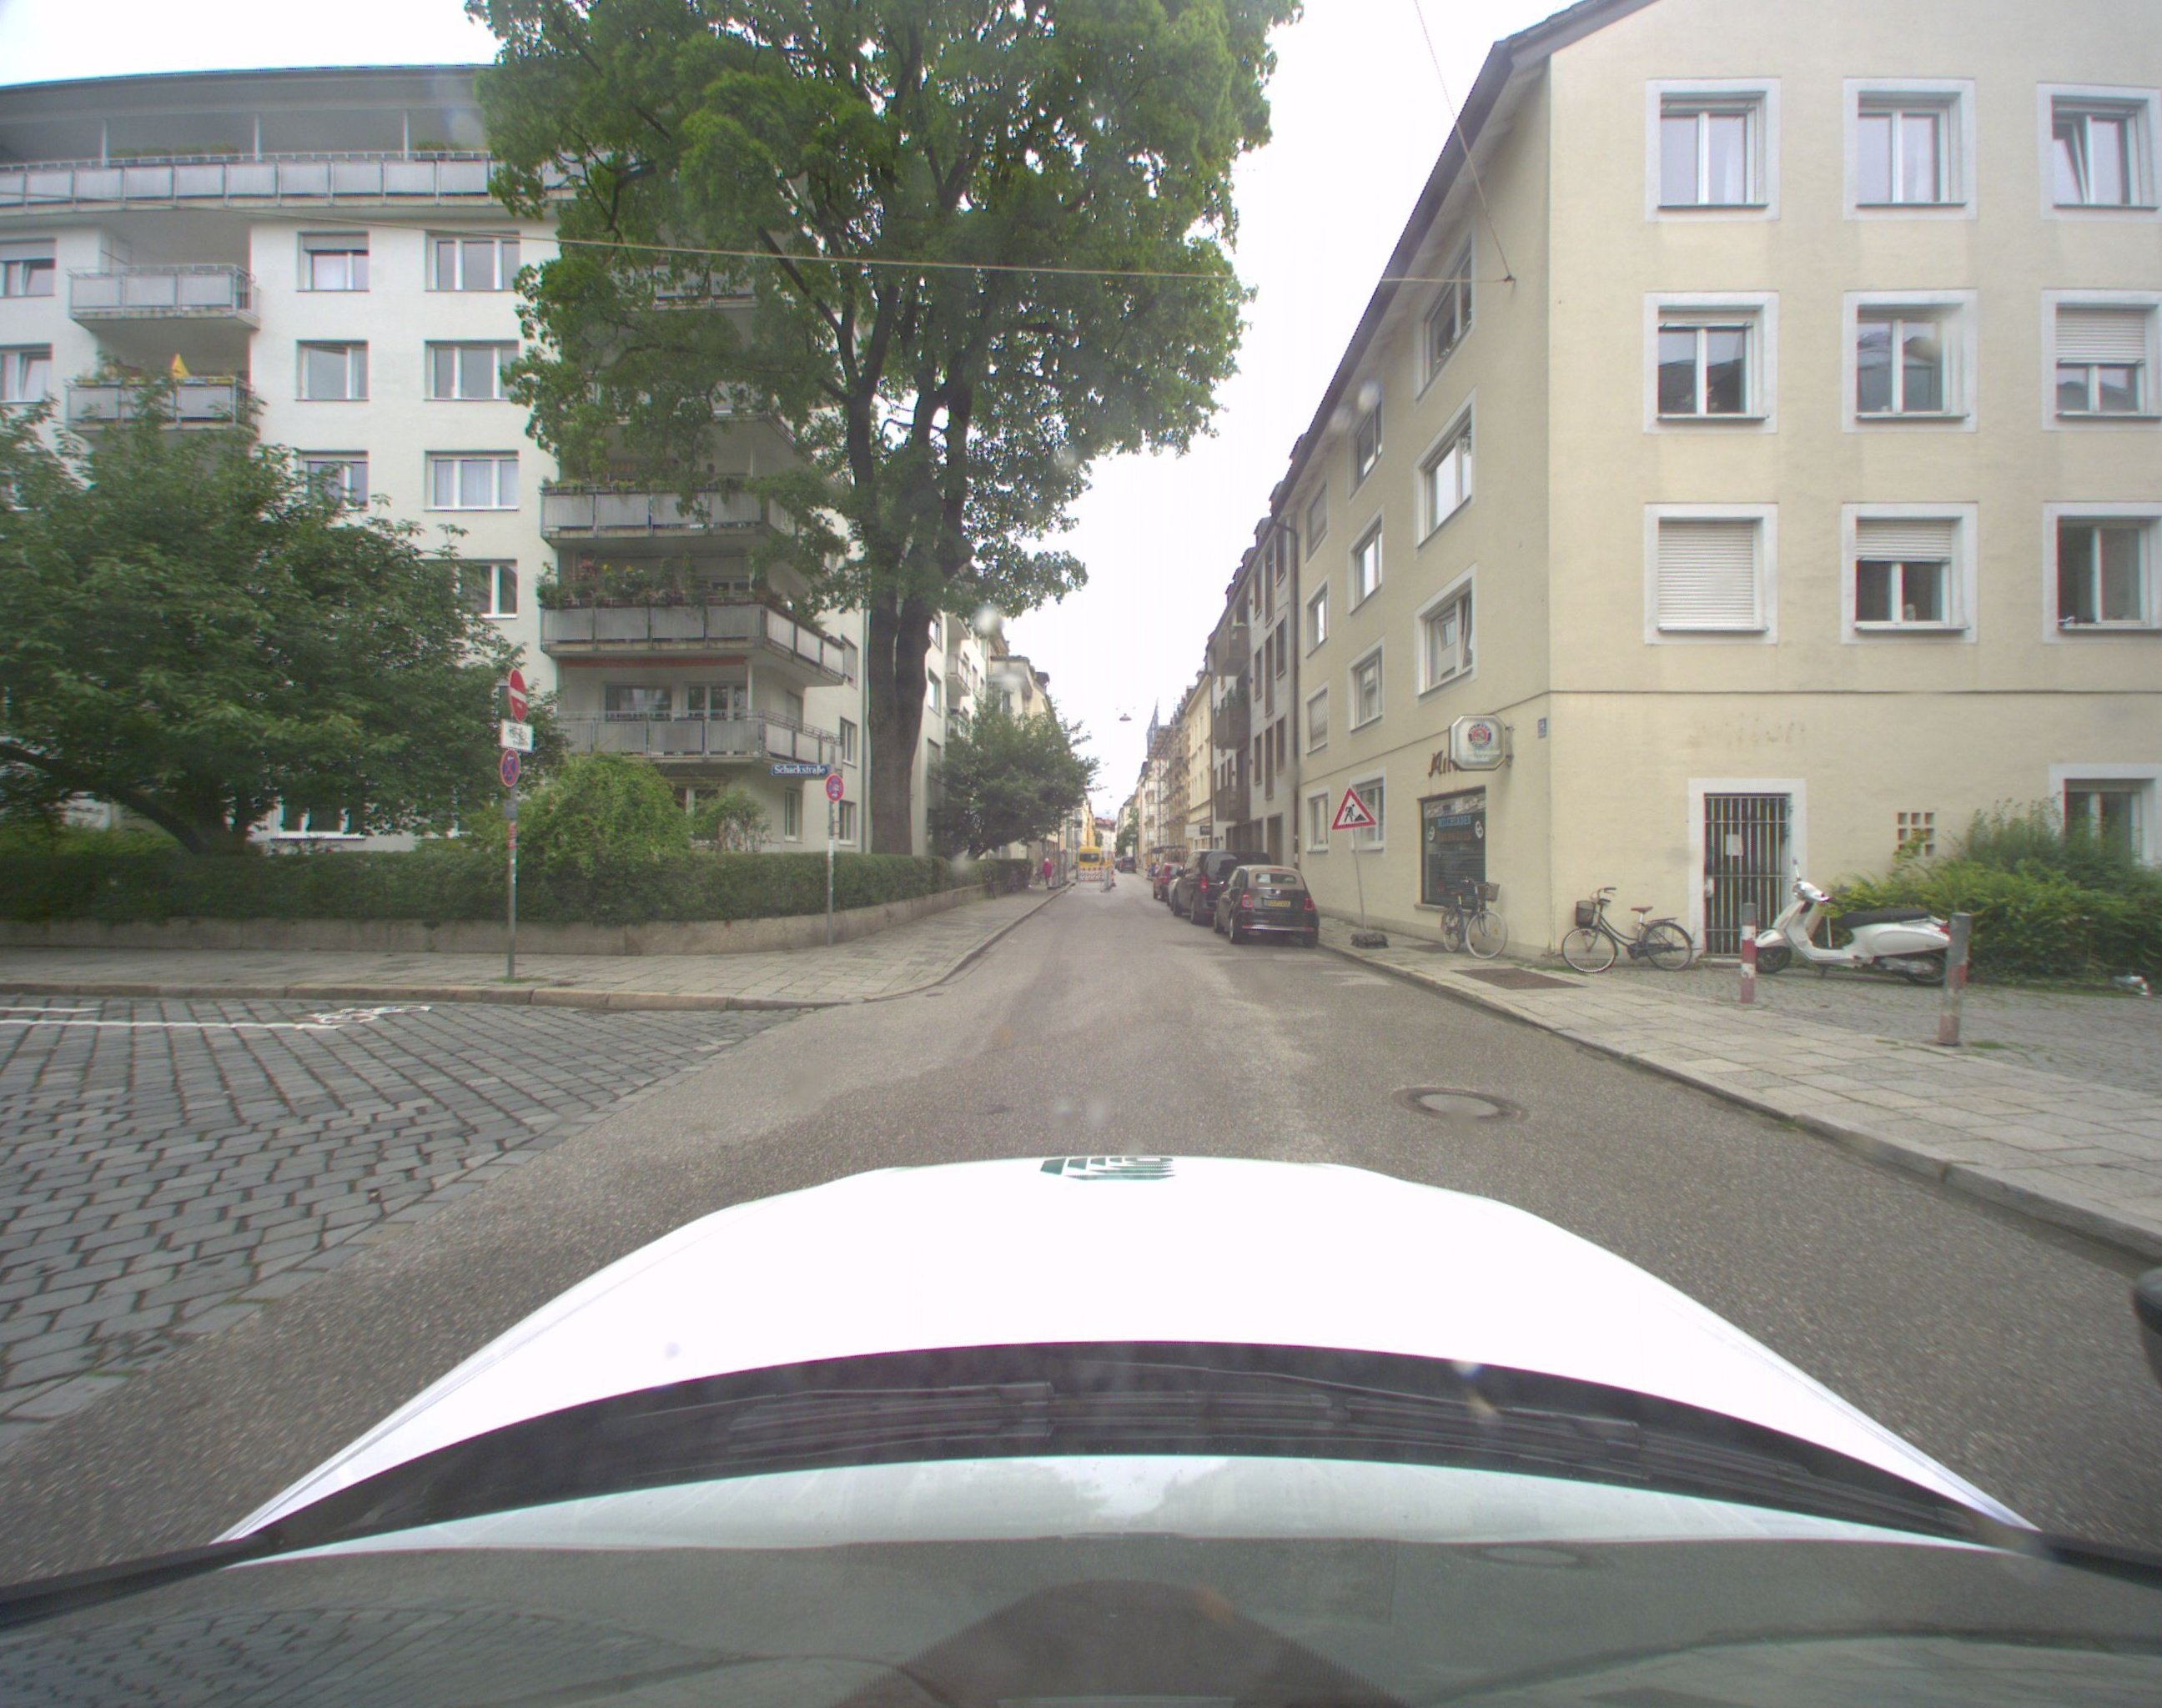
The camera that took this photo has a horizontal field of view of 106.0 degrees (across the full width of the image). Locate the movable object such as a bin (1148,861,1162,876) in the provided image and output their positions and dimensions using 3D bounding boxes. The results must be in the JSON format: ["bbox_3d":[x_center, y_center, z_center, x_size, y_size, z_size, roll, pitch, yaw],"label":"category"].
[{"bbox_3d":[6.963,1.361,76.725,1.078,1.346,1.322,-3,-1,14],"label":"movable object such as a bin"}]

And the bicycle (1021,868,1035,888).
[{"bbox_3d":[-2.641,1.195,40.831,0.442,0.978,1.817,3,-1,3],"label":"bicycle"}]

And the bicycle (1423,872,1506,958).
[{"bbox_3d":[5.856,0.897,12.530,0.408,1.214,1.819,-2,-2,2],"label":"bicycle"}]

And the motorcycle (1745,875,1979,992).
[{"bbox_3d":[8.819,0.841,9.283,0.624,1.121,1.853,-1,1,-37],"label":"motorcycle"}]

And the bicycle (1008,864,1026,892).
[{"bbox_3d":[-2.735,1.024,34.940,0.486,1.151,1.700,3,-1,3],"label":"bicycle"}]

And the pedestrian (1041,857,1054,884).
[{"bbox_3d":[-1.954,0.972,47.417,0.635,1.532,0.748,1,-1,3],"label":"pedestrian"}]

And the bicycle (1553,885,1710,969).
[{"bbox_3d":[7.030,0.926,10.436,1.695,1.027,0.411,-1,-2,1],"label":"bicycle"}]

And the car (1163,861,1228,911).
[{"bbox_3d":[3.754,1.010,27.388,1.761,1.461,4.383,2,0,3],"label":"car"}]

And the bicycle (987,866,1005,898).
[{"bbox_3d":[-3.077,1.001,29.485,0.345,1.072,1.781,4,0,2],"label":"bicycle"}]

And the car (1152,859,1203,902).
[{"bbox_3d":[3.803,1.012,32.624,1.764,1.524,4.070,2,0,3],"label":"car"}]

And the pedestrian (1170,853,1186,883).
[{"bbox_3d":[5.916,0.843,49.768,0.727,1.752,0.988,-4,-1,1],"label":"pedestrian"}]

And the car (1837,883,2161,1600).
[{"bbox_3d":[3.068,0.807,0.208,1.715,1.435,4.358,1,0,0],"label":"car"}]

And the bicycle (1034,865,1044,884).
[{"bbox_3d":[-2.498,1.226,48.773,0.375,1.063,1.598,6,0,2],"label":"bicycle"}]

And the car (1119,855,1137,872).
[{"bbox_3d":[5.679,1.171,99.096,1.987,1.932,4.660,1,0,1],"label":"car"}]

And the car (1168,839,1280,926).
[{"bbox_3d":[3.616,0.688,21.495,1.984,1.977,4.883,2,0,-1],"label":"car"}]

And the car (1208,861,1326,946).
[{"bbox_3d":[3.630,0.914,16.455,1.628,1.471,3.539,2,0,2],"label":"car"}]

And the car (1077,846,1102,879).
[{"bbox_3d":[0.717,0.689,67.203,1.986,2.579,6.737,-1,0,1],"label":"car"}]

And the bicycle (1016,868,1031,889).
[{"bbox_3d":[-2.720,1.170,38.966,0.442,0.978,1.854,3,-1,3],"label":"bicycle"}]
